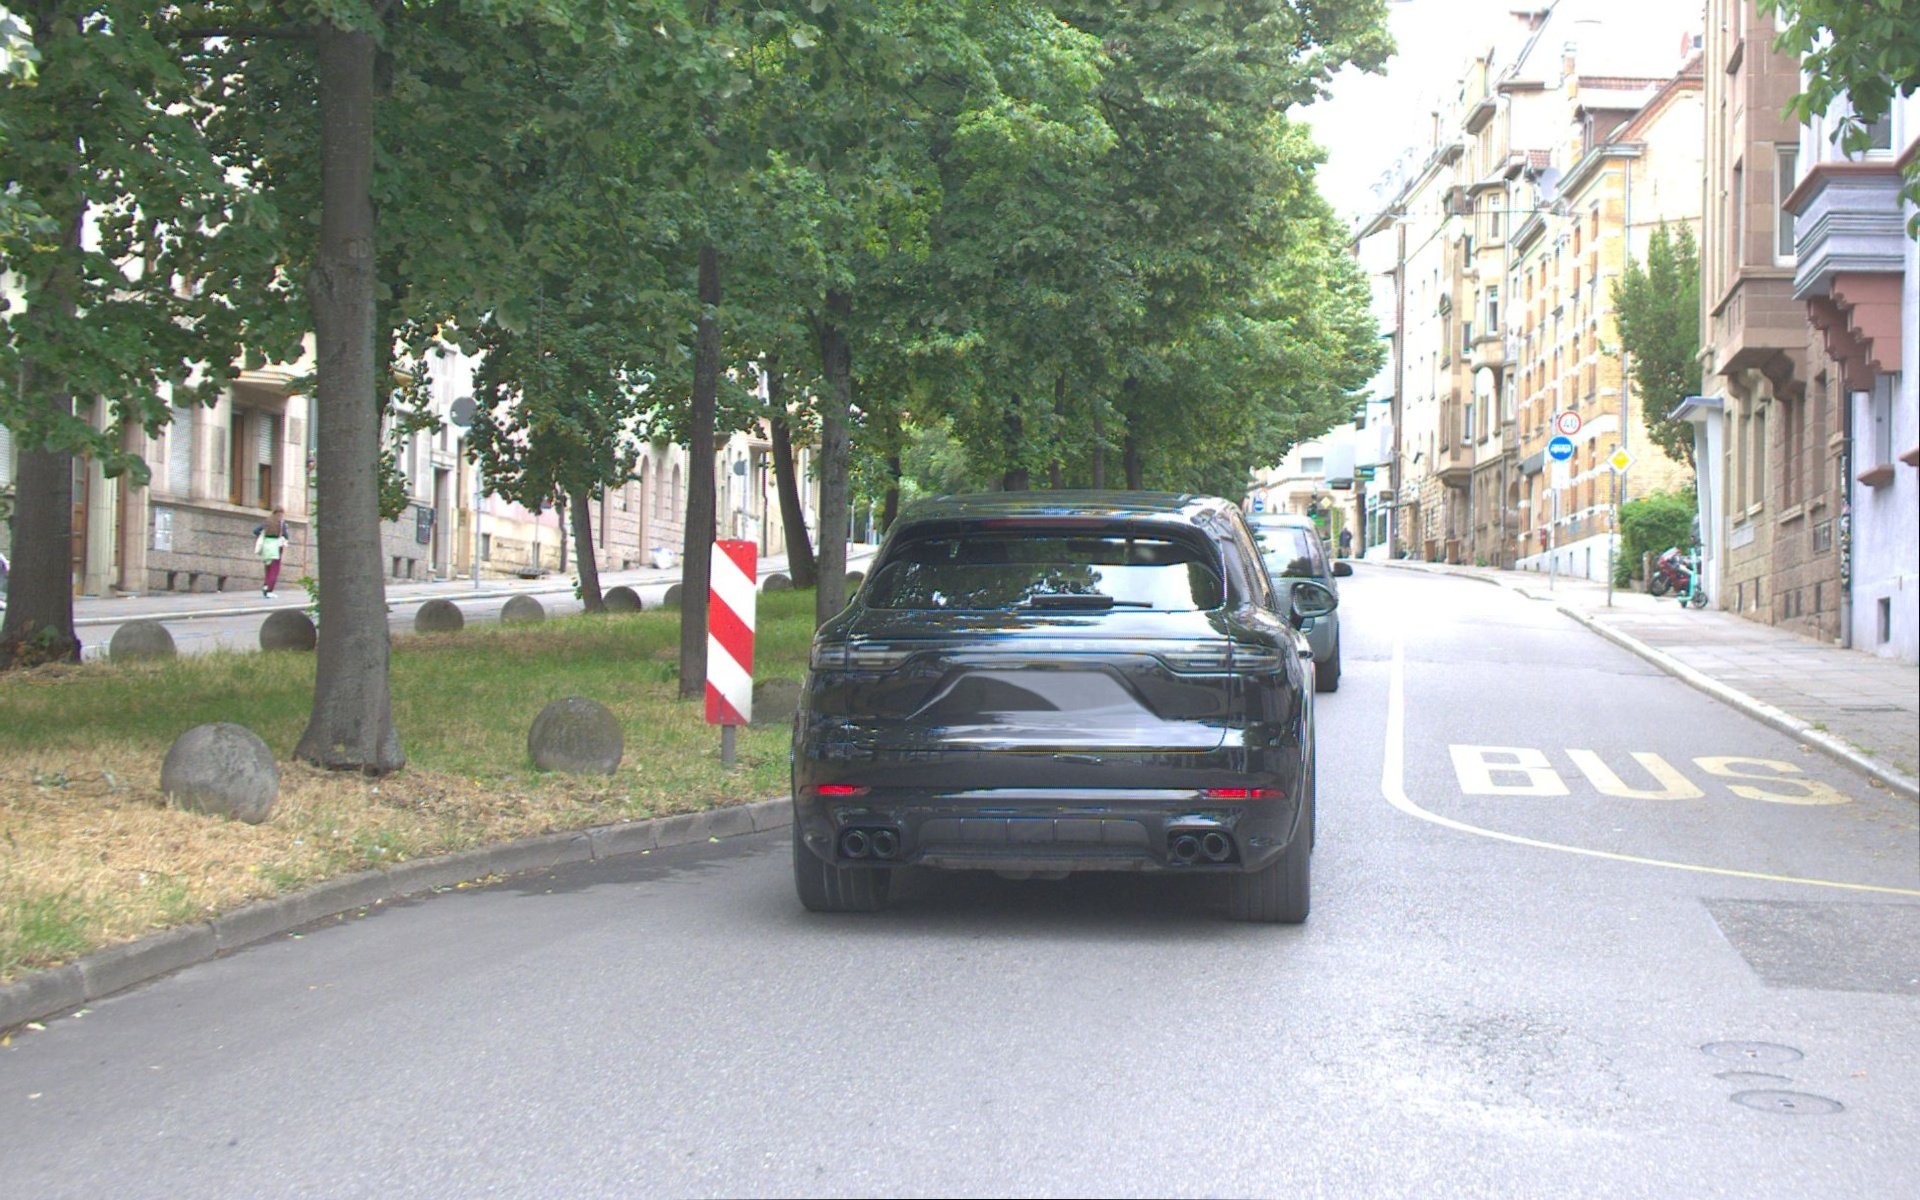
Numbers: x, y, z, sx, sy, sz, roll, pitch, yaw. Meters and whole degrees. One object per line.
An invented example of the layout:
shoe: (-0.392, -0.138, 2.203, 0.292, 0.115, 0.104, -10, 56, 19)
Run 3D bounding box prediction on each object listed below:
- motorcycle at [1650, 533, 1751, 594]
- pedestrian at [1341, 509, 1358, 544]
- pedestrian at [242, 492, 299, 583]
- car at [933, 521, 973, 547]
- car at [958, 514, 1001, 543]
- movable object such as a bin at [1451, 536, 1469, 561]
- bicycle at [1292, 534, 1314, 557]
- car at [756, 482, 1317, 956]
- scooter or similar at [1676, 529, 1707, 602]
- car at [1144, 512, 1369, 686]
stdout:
motorcycle: (16.782, -0.828, 77.933, 2.055, 1.263, 1.010, 3, 1, 3)
pedestrian: (19.113, -3.611, 168.773, 0.751, 1.687, 0.858, 1, -1, 2)
pedestrian: (-11.310, -1.027, 56.410, 0.699, 1.455, 0.704, 2, 2, 8)
car: (-0.369, -3.610, 187.642, 1.709, 1.377, 4.289, 0, 2, 6)
car: (0.967, -3.521, 169.245, 1.709, 1.377, 4.668, 0, 2, 6)
movable object such as a bin: (18.777, -1.935, 129.099, 0.594, 0.901, 0.563, 2, 1, 2)
bicycle: (18.865, -2.990, 189.270, 0.879, 1.125, 2.979, 2, -1, 0)
car: (0.445, 0.374, 14.333, 1.994, 1.660, 3.999, 1, 1, 5)
scooter or similar: (12.757, -0.609, 59.965, 0.410, 1.206, 1.145, -1, 4, 7)
car: (2.797, -0.009, 31.783, 1.764, 1.460, 3.590, 2, 0, 9)
